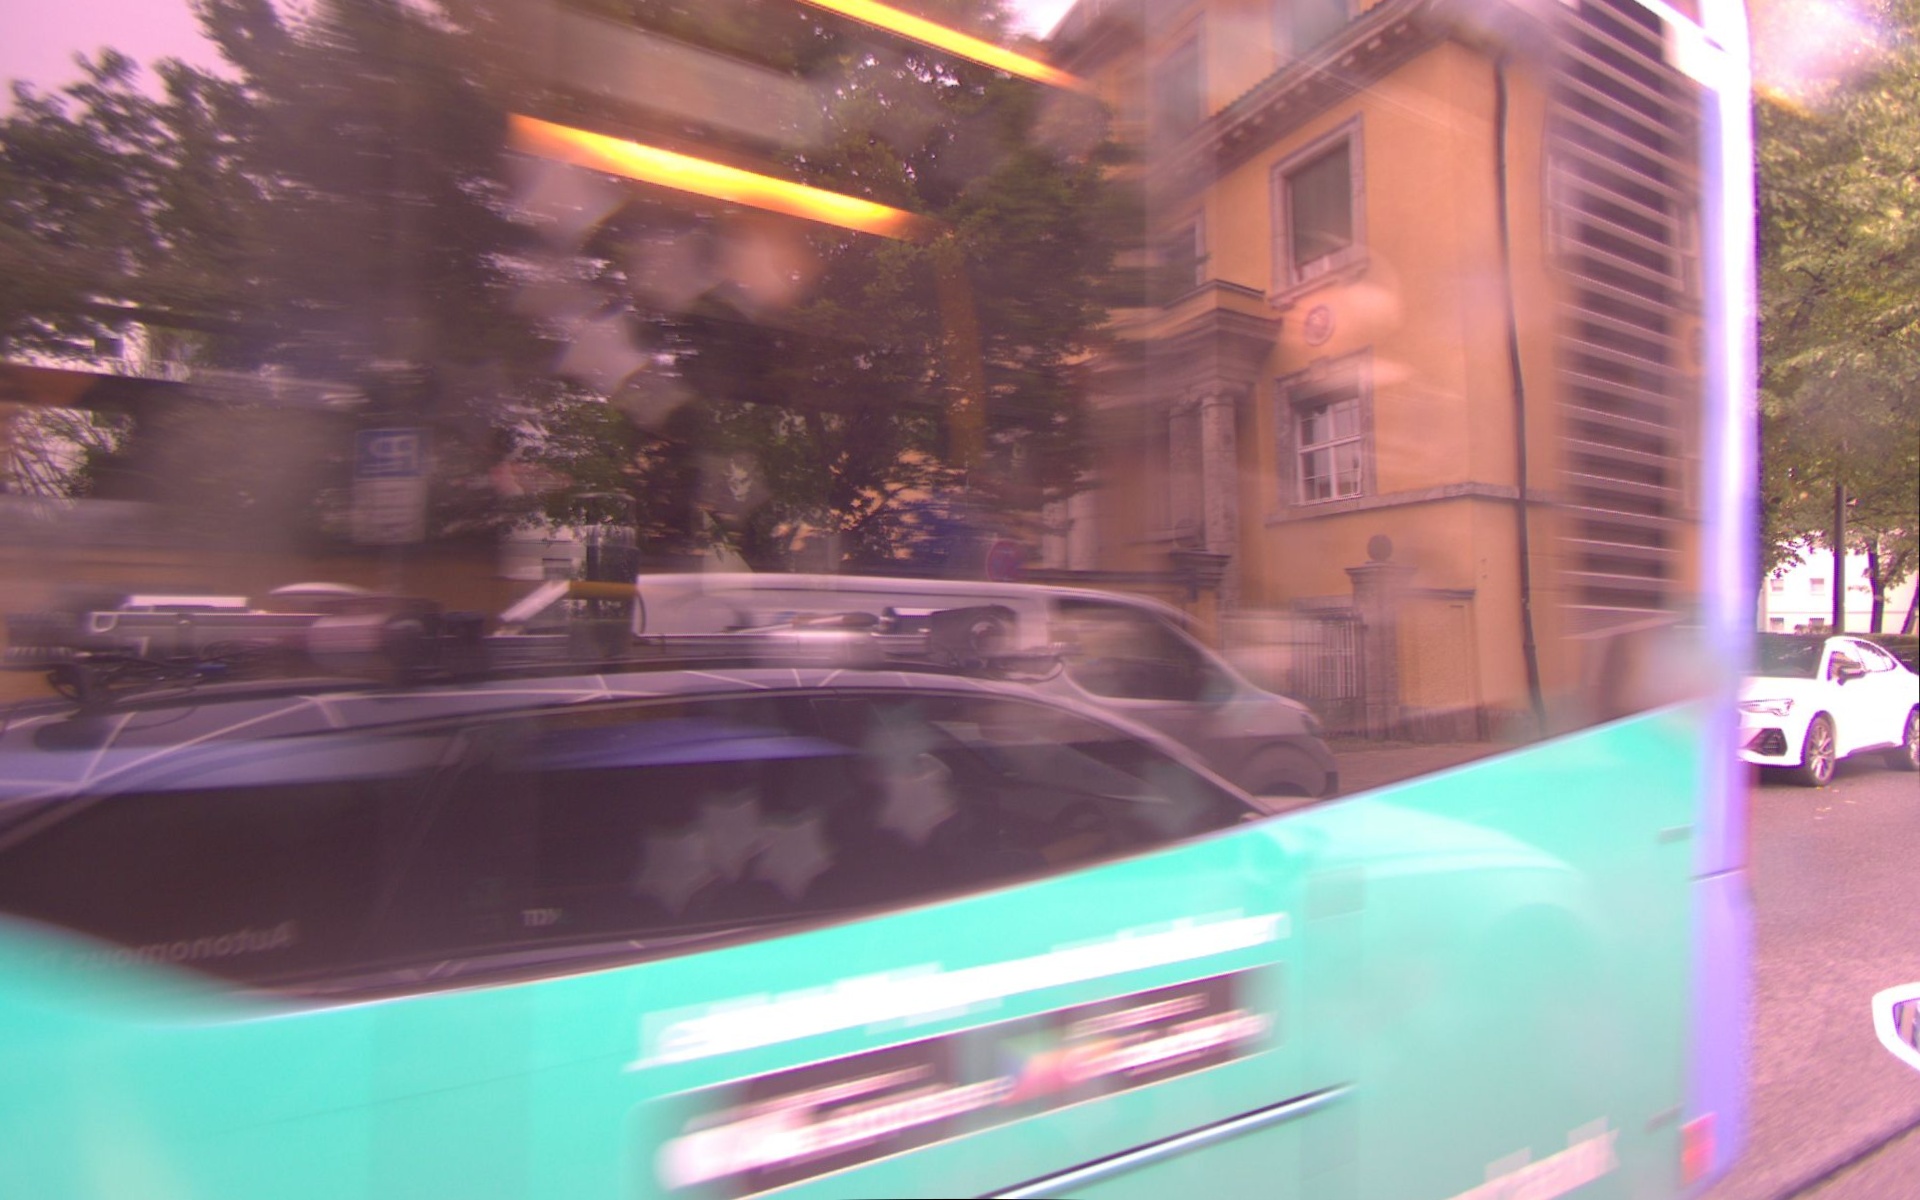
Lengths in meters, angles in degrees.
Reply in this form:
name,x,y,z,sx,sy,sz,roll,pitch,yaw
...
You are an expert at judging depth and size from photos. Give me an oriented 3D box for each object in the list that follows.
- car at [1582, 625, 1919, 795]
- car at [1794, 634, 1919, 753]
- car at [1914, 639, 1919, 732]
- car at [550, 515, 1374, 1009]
name,x,y,z,sx,sy,sz,roll,pitch,yaw
car,9.307,1.142,11.578,4.531,1.618,1.775,2,-2,-31
car,13.634,1.258,14.149,4.057,1.488,1.664,2,-2,-31
car,17.976,1.441,16.622,4.937,1.488,1.802,2,-2,-29
car,0.177,0.707,5.808,4.496,1.902,1.775,2,-2,-31
